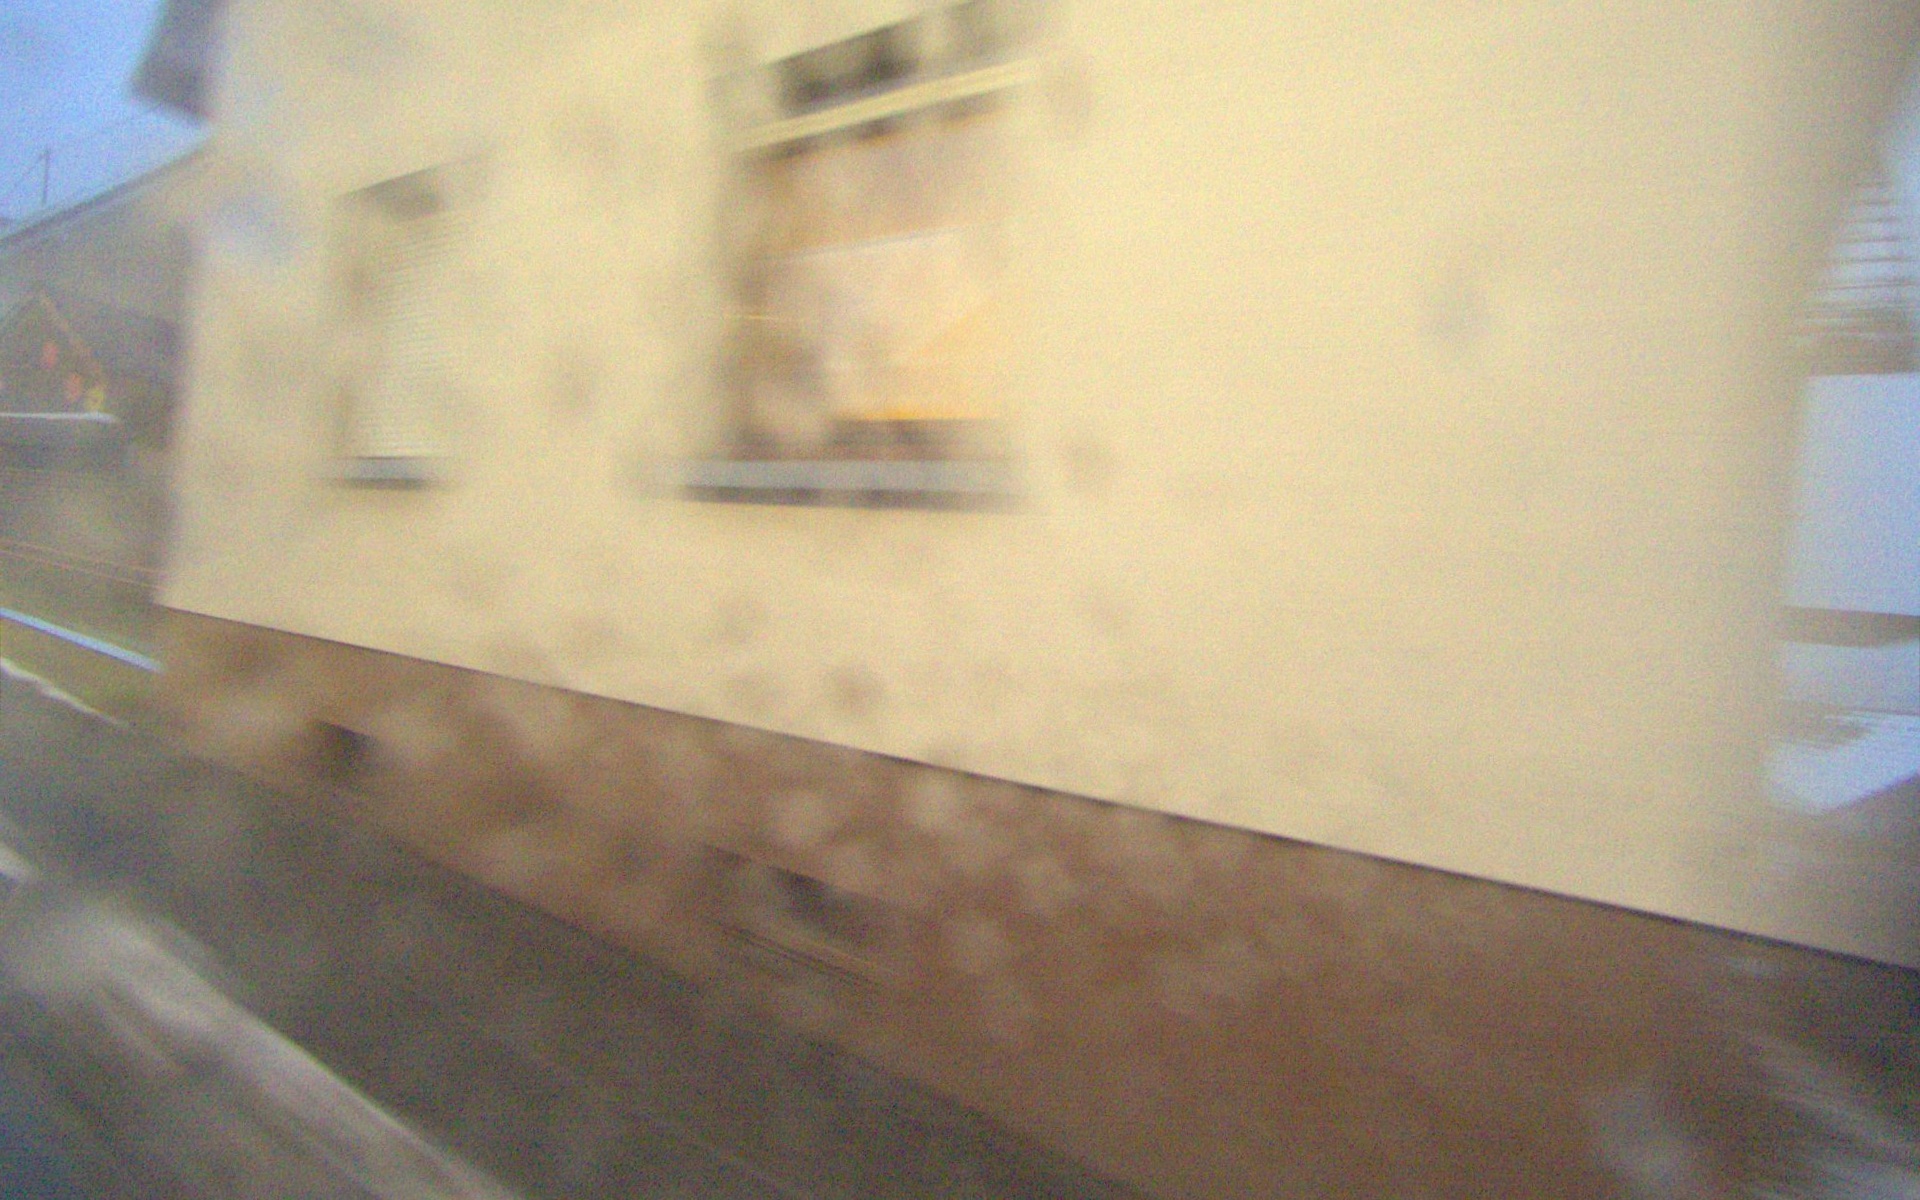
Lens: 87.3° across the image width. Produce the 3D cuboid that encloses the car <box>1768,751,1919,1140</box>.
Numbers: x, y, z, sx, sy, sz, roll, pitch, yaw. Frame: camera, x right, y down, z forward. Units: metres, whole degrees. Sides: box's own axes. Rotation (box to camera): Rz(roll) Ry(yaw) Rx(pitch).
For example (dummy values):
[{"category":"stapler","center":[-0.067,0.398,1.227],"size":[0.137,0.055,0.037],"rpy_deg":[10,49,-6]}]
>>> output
[{"category":"car","center":[5.384,1.657,4.595],"size":[1.879,1.613,3.999],"rpy_deg":[6,-4,30]}]
